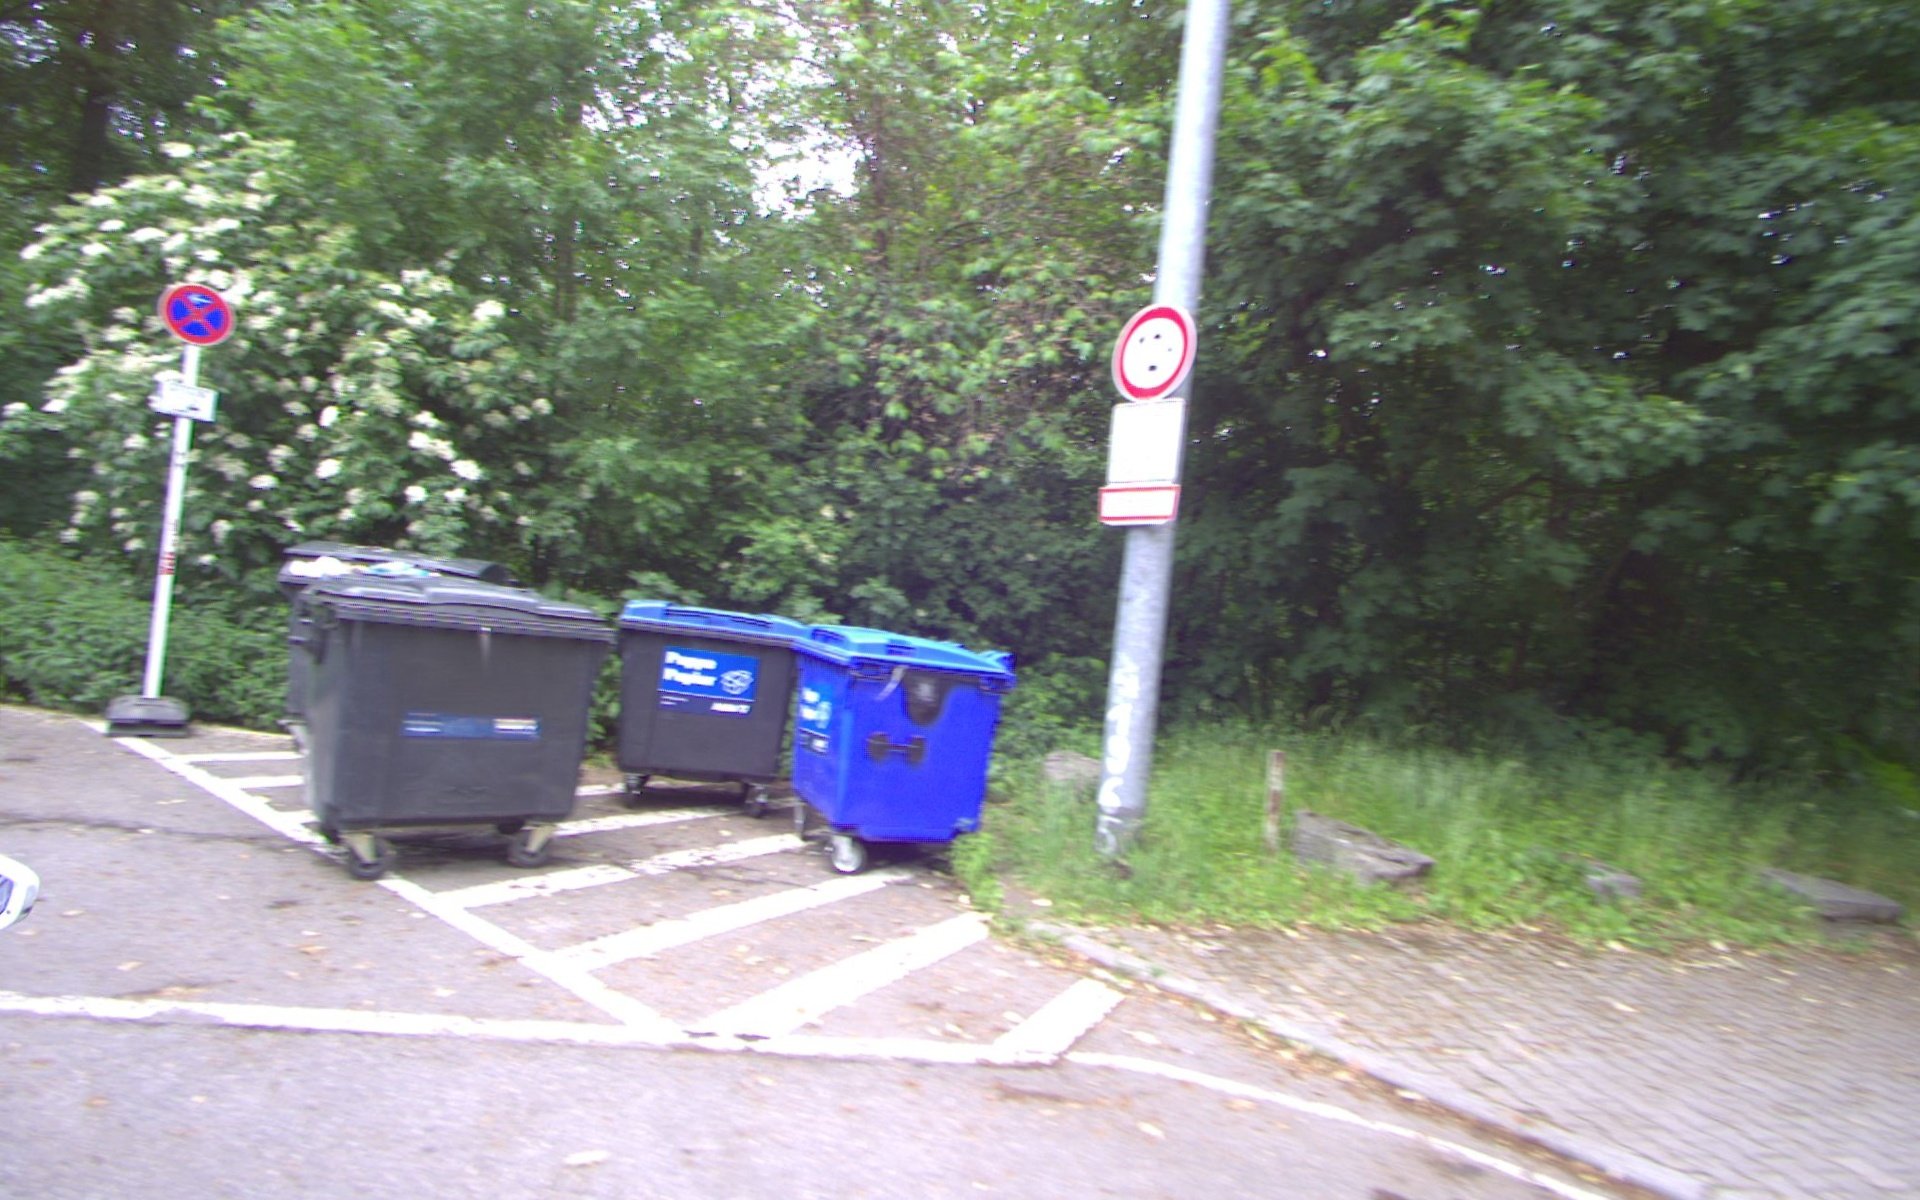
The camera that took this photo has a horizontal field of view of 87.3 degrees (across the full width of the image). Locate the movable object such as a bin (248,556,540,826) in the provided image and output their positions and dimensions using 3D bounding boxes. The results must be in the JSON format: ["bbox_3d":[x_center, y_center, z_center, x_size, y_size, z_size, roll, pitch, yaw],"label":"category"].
[{"bbox_3d":[-3.276,0.499,5.808,1.176,1.330,1.115,8,-1,-40],"label":"movable object such as a bin"}]

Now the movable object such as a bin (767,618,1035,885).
[{"bbox_3d":[-0.400,0.863,6.041,1.131,1.340,1.251,7,-1,-22],"label":"movable object such as a bin"}]

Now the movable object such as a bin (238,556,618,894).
[{"bbox_3d":[-2.571,0.550,4.853,1.303,1.323,1.160,8,-1,-40],"label":"movable object such as a bin"}]

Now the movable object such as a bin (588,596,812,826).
[{"bbox_3d":[-1.748,0.714,6.858,1.221,1.336,1.124,7,-1,-14],"label":"movable object such as a bin"}]

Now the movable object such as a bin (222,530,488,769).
[{"bbox_3d":[-4.212,0.341,7.140,1.111,1.442,1.126,7,-1,-7],"label":"movable object such as a bin"}]
